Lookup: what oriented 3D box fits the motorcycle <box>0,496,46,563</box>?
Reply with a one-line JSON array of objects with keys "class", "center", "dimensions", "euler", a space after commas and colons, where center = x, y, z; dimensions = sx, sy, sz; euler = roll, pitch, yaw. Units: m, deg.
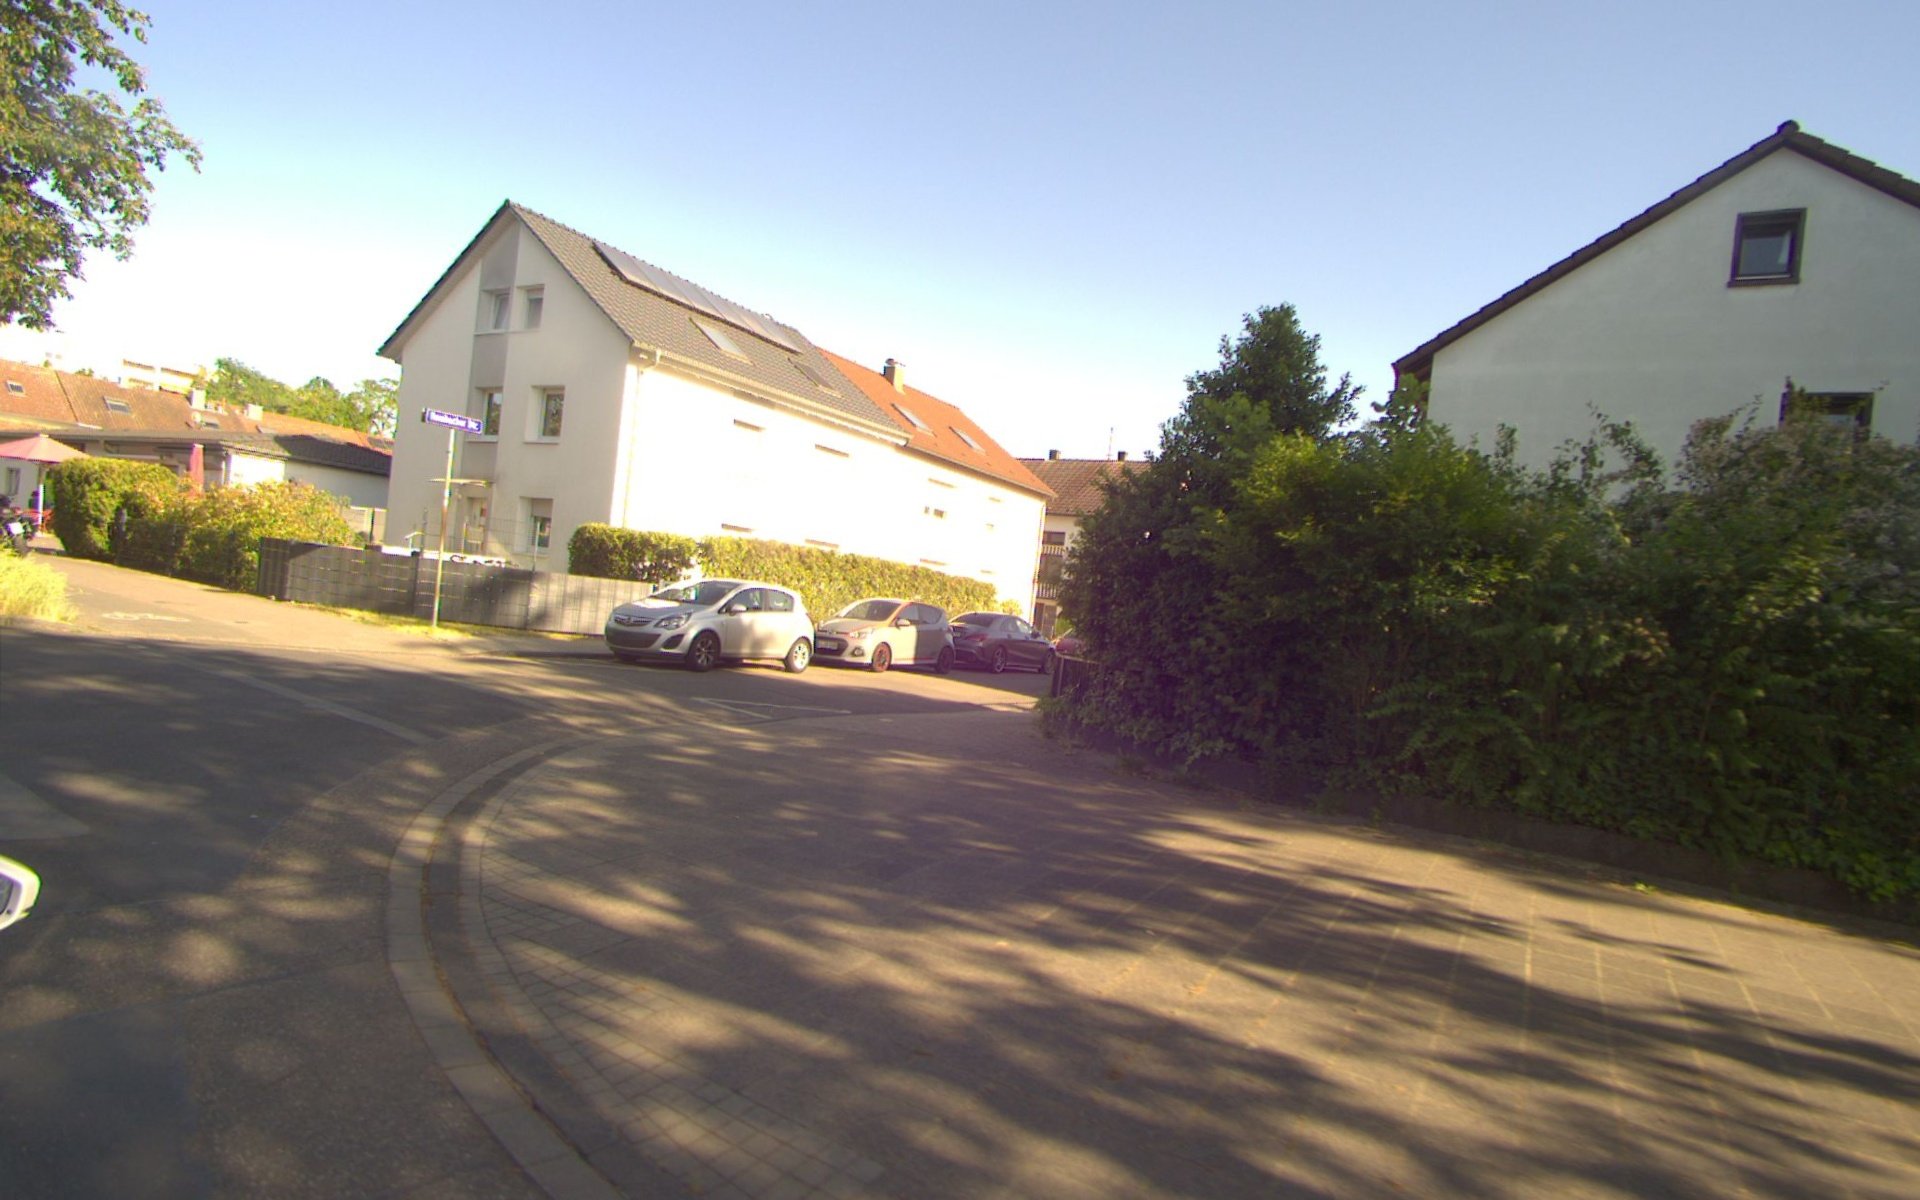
[{"class": "motorcycle", "center": [-19.821, -1.505, 20.714], "dimensions": [2.312, 1.243, 0.818], "euler": [7, 2, 31]}]

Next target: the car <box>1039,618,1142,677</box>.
[{"class": "car", "center": [3.972, 1.468, 30.145], "dimensions": [1.620, 1.475, 3.689], "euler": [7, -1, 30]}]

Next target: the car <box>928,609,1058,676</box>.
[{"class": "car", "center": [0.874, 0.989, 24.498], "dimensions": [1.398, 1.340, 3.822], "euler": [8, 3, 30]}]

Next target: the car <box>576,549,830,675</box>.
[{"class": "car", "center": [-4.027, 0.272, 16.478], "dimensions": [1.745, 1.660, 3.997], "euler": [7, 0, 25]}]

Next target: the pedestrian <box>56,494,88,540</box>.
[{"class": "pedestrian", "center": [-29.448, -2.747, 33.361], "dimensions": [0.656, 1.427, 0.489], "euler": [4, 2, -30]}]

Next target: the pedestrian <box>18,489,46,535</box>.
[{"class": "pedestrian", "center": [-29.897, -2.832, 32.415], "dimensions": [0.629, 1.401, 0.439], "euler": [6, -1, 37]}]

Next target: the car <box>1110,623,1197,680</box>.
[{"class": "car", "center": [6.624, 1.781, 34.178], "dimensions": [1.620, 1.627, 3.689], "euler": [7, 0, 30]}]

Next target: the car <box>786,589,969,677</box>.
[{"class": "car", "center": [-1.598, 0.732, 20.781], "dimensions": [1.818, 1.462, 3.753], "euler": [7, 0, 30]}]
